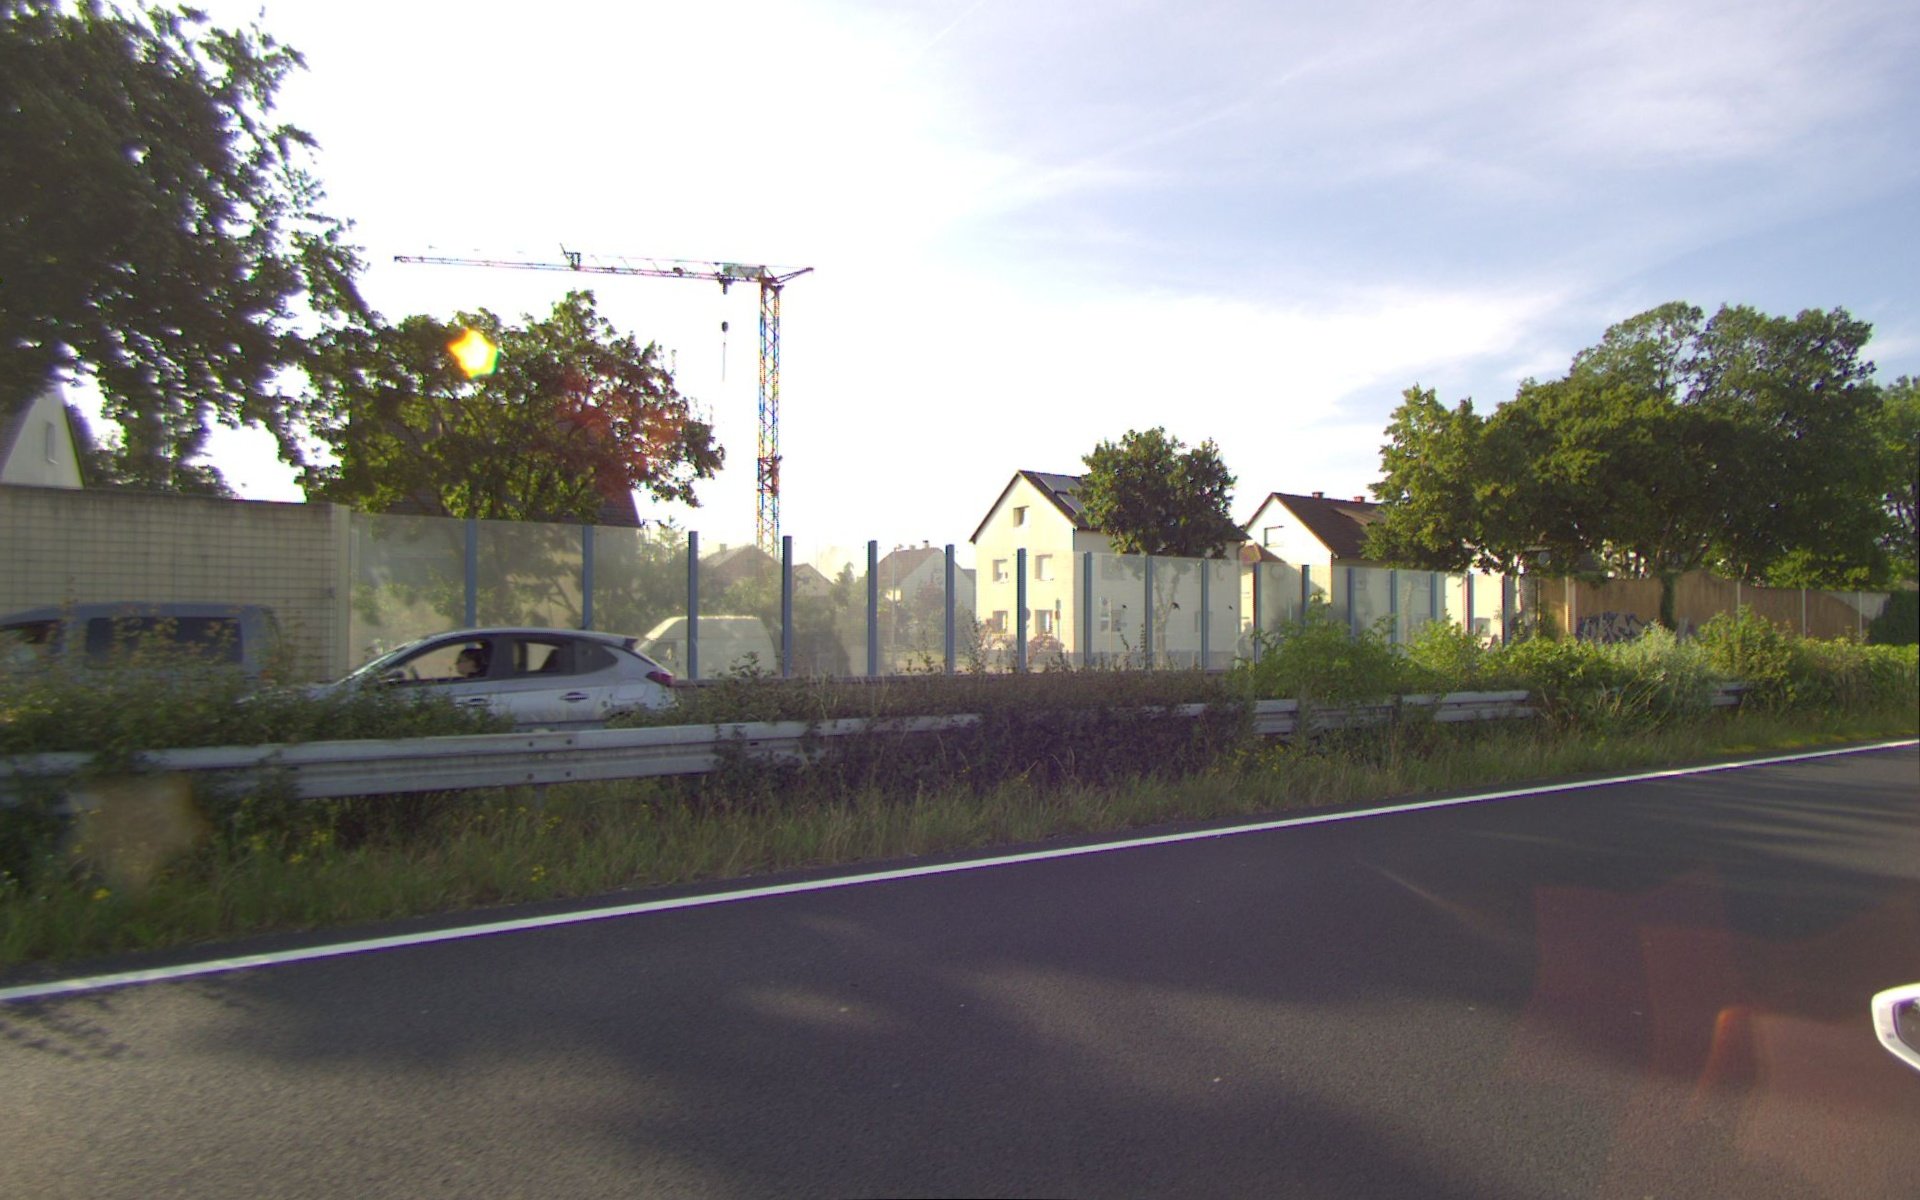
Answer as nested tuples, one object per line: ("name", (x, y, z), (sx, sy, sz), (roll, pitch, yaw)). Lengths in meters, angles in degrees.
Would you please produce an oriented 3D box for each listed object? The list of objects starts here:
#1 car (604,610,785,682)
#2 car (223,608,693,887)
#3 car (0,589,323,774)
("car", (-7.787, 1.354, 29.614), (4.857, 1.944, 1.777), (2, 0, -30))
("car", (-4.400, 1.148, 9.113), (3.450, 2.040, 1.800), (2, 0, -30))
("car", (-9.558, 0.817, 10.983), (4.250, 1.818, 1.828), (2, 0, -30))
